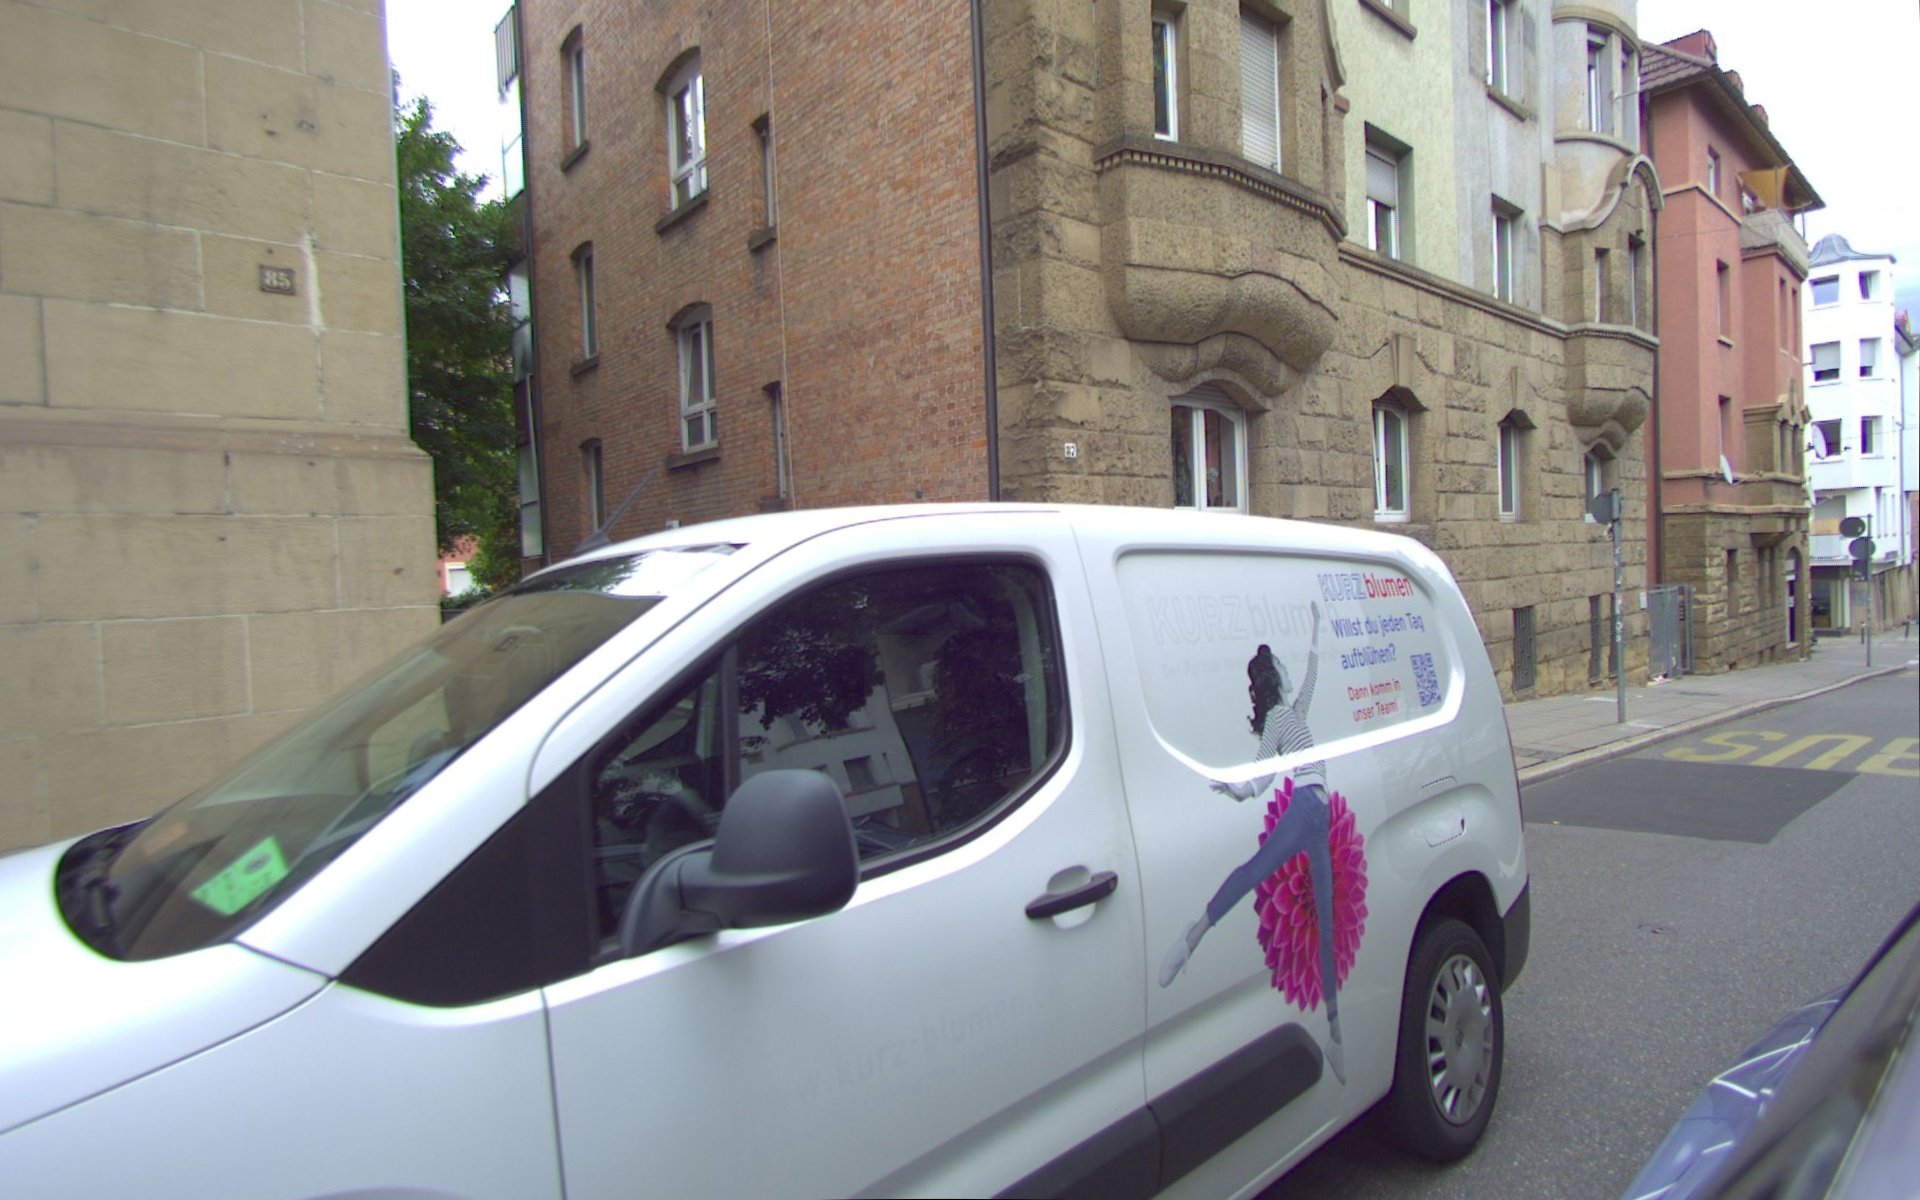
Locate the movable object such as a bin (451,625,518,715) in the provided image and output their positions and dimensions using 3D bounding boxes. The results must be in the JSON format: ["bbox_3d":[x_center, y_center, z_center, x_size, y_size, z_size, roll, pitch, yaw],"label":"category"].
[{"bbox_3d":[-5.305,0.764,11.294,0.540,0.945,0.537,-2,0,-39],"label":"movable object such as a bin"}]

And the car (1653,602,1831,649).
[{"bbox_3d":[29.801,0.997,38.692,5.125,1.570,2.203,-4,-2,44],"label":"car"}]

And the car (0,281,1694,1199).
[{"bbox_3d":[0.010,0.602,2.750,4.929,1.848,1.854,-2,0,-38],"label":"car"}]
